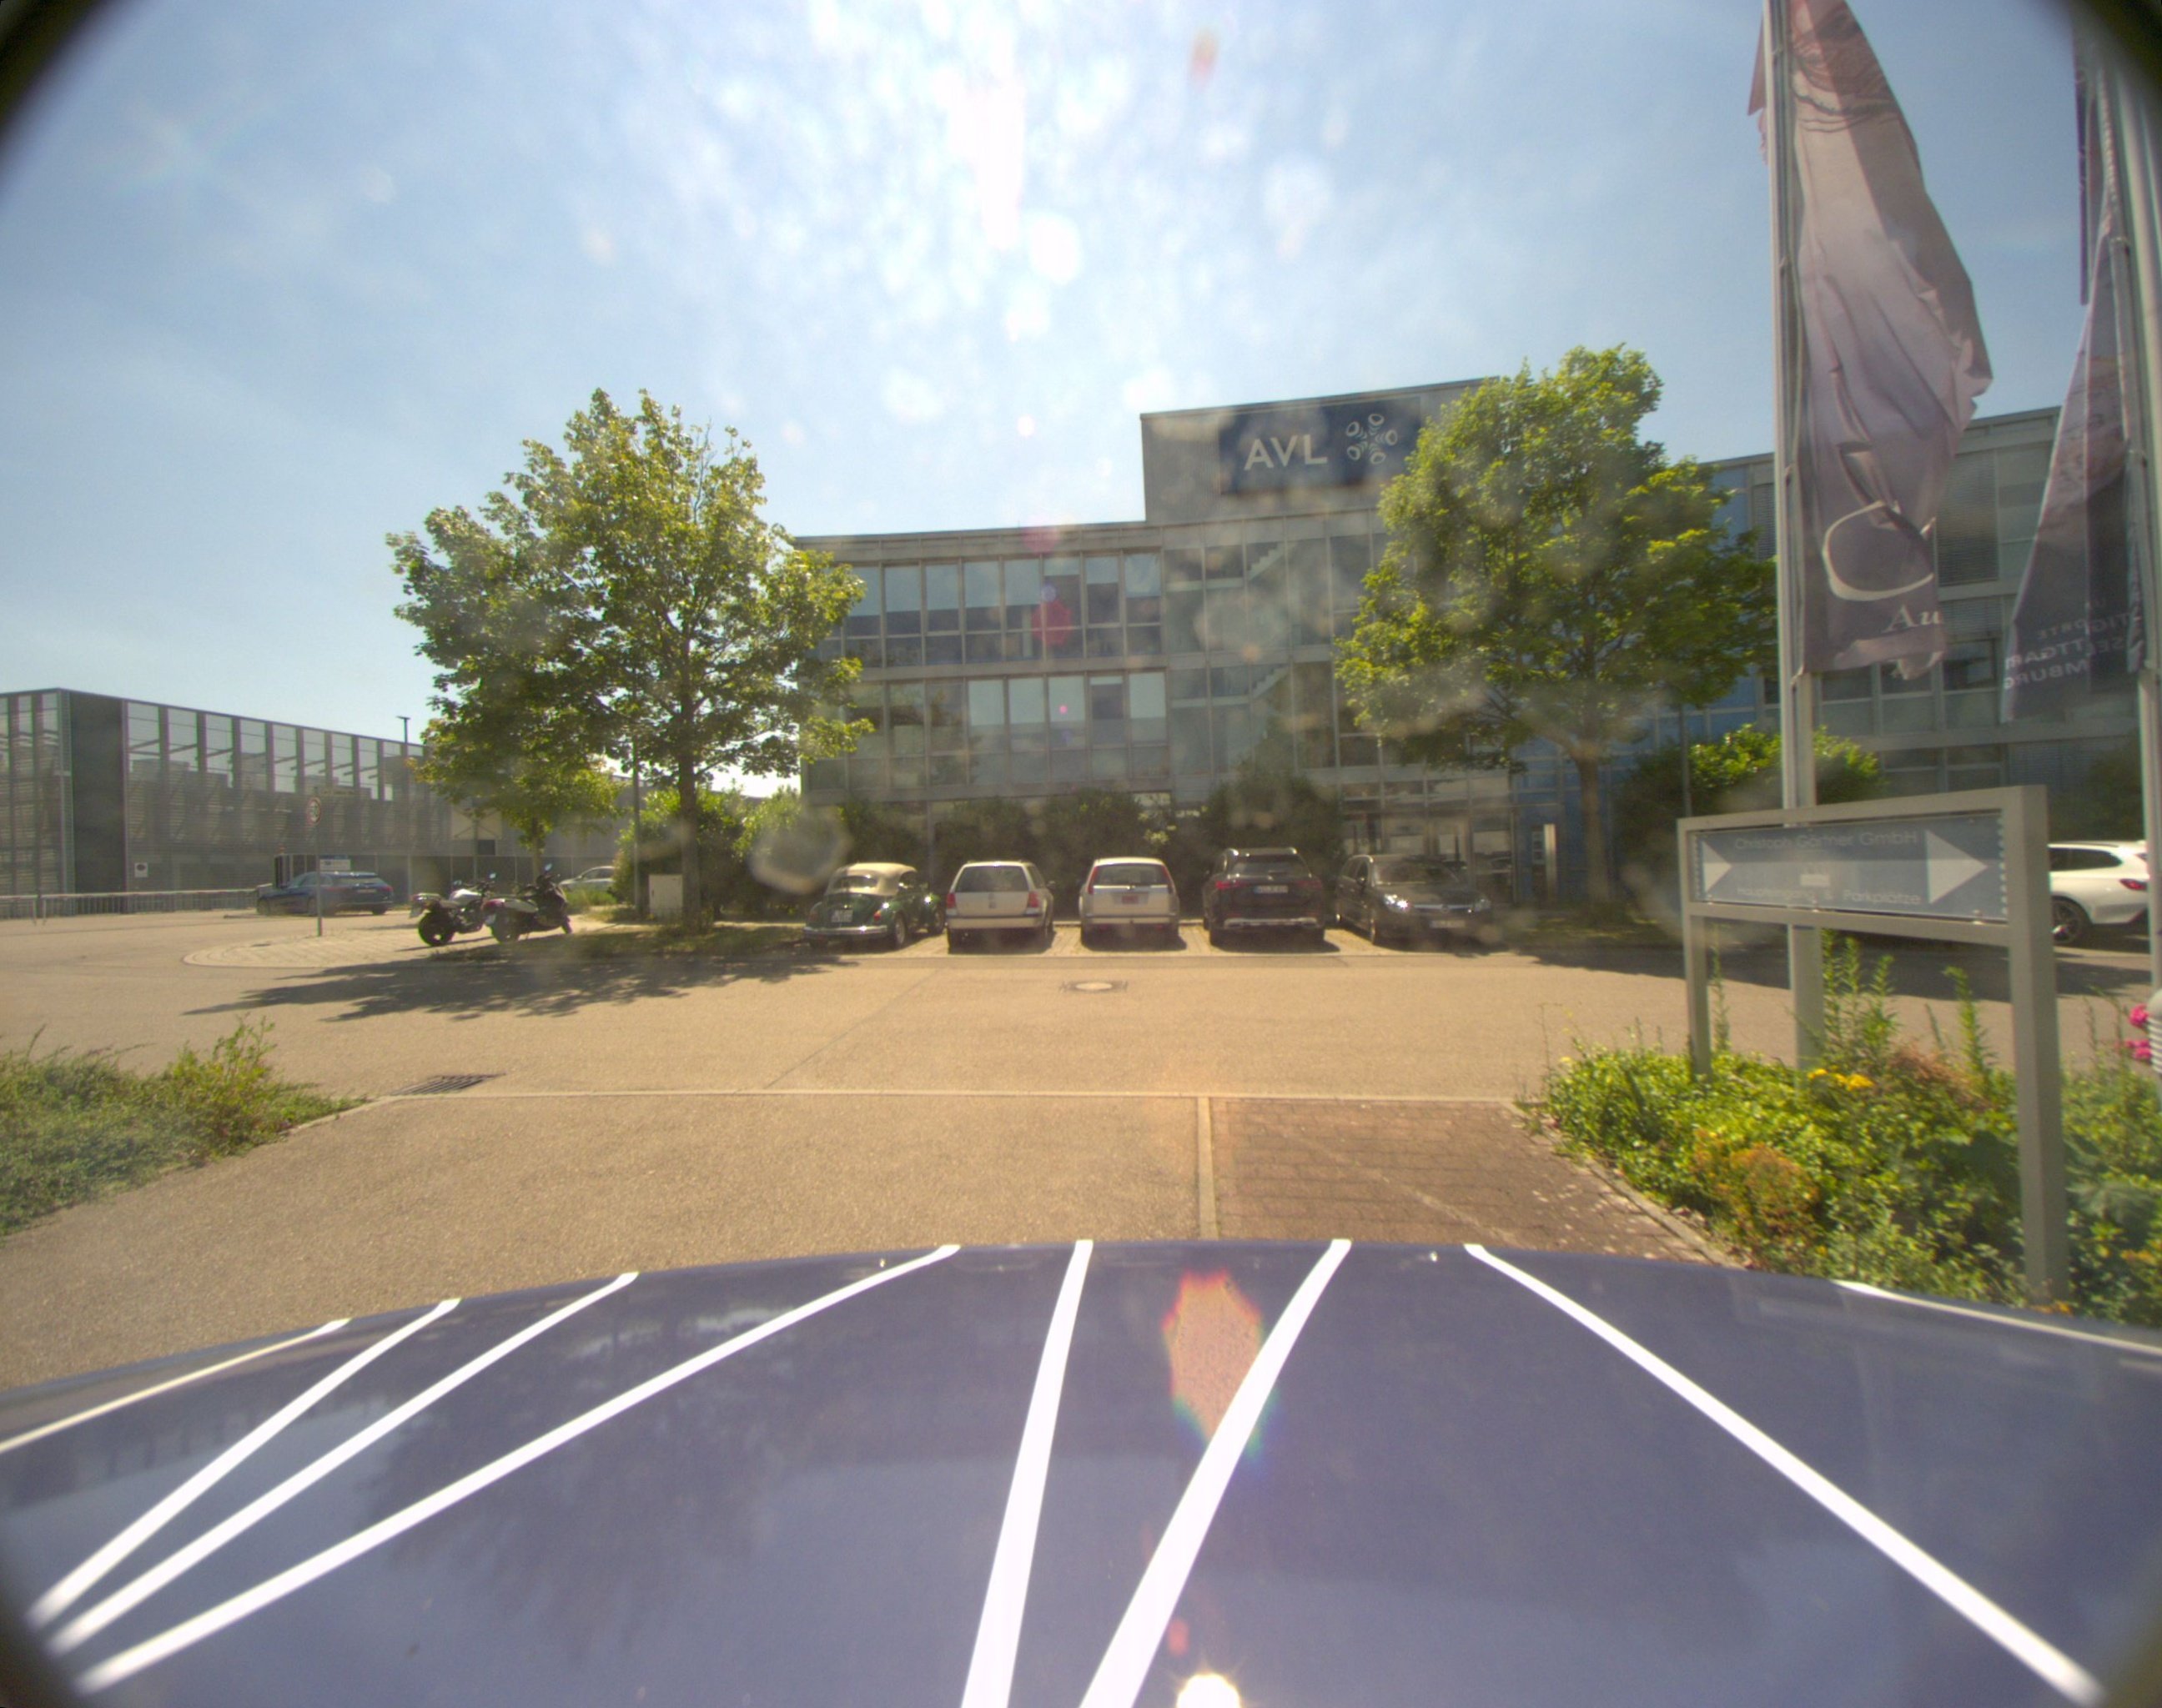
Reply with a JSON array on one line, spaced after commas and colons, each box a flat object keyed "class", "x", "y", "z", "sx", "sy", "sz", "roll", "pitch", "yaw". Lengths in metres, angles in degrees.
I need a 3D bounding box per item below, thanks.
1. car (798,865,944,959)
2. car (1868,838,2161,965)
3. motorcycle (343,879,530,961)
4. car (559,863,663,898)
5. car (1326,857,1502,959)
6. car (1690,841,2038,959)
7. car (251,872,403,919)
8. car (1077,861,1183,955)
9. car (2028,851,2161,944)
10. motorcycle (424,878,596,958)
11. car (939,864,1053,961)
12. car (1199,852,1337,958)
[{"class": "car", "x": -3.712, "y": 0.973, "z": 14.021, "sx": 1.521, "sy": 1.437, "sz": 3.420, "roll": 0, "pitch": 1, "yaw": 4}, {"class": "car", "x": 15.015, "y": 0.592, "z": 11.736, "sx": 1.831, "sy": 1.628, "sz": 4.174, "roll": -1, "pitch": 0, "yaw": 9}, {"class": "motorcycle", "x": -11.992, "y": 1.177, "z": 14.336, "sx": 0.873, "sy": 1.252, "sz": 2.836, "roll": -1, "pitch": 1, "yaw": 6}, {"class": "car", "x": -21.290, "y": 1.212, "z": 34.418, "sx": 4.404, "sy": 1.467, "sz": 1.783, "roll": -1, "pitch": 0, "yaw": 24}, {"class": "car", "x": 5.717, "y": 0.834, "z": 13.631, "sx": 1.729, "sy": 1.475, "sz": 4.399, "roll": -1, "pitch": 0, "yaw": 8}, {"class": "car", "x": 12.504, "y": 0.634, "z": 12.622, "sx": 1.831, "sy": 1.628, "sz": 4.173, "roll": -1, "pitch": 0, "yaw": 7}, {"class": "car", "x": -25.045, "y": 1.377, "z": 25.251, "sx": 4.436, "sy": 1.401, "sz": 1.862, "roll": -1, "pitch": 0, "yaw": 21}, {"class": "car", "x": 0.826, "y": 0.911, "z": 14.265, "sx": 1.731, "sy": 1.444, "sz": 3.600, "roll": -1, "pitch": 1, "yaw": 1}, {"class": "car", "x": 17.382, "y": 0.665, "z": 11.322, "sx": 1.750, "sy": 1.392, "sz": 4.174, "roll": -1, "pitch": 0, "yaw": 9}, {"class": "motorcycle", "x": -10.648, "y": 1.140, "z": 14.381, "sx": 0.873, "sy": 1.252, "sz": 2.836, "roll": -1, "pitch": 1, "yaw": 6}, {"class": "car", "x": -1.420, "y": 0.959, "z": 13.918, "sx": 1.642, "sy": 1.444, "sz": 3.600, "roll": 0, "pitch": 1, "yaw": 1}, {"class": "car", "x": 3.211, "y": 0.799, "z": 13.806, "sx": 1.937, "sy": 1.593, "sz": 3.861, "roll": -1, "pitch": 1, "yaw": 6}]
